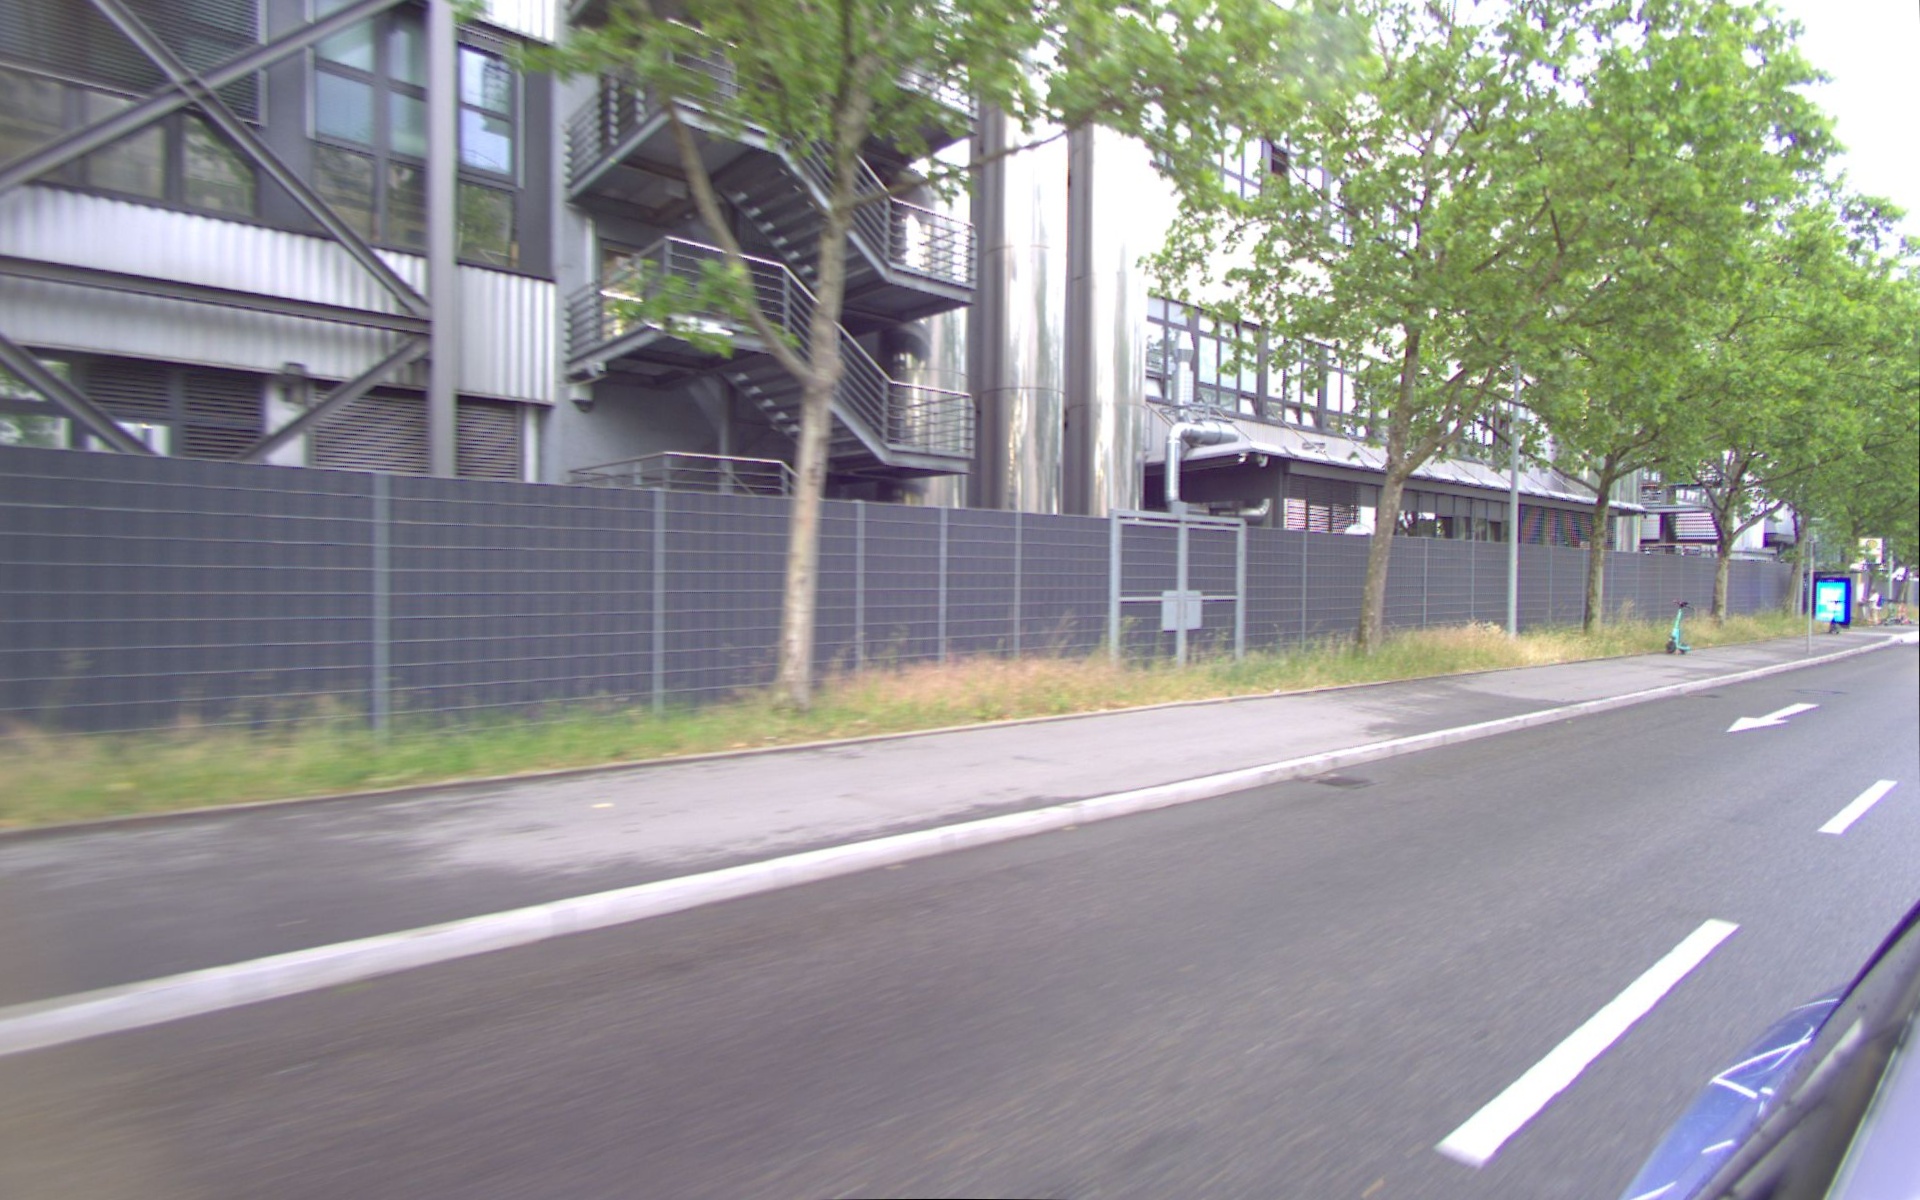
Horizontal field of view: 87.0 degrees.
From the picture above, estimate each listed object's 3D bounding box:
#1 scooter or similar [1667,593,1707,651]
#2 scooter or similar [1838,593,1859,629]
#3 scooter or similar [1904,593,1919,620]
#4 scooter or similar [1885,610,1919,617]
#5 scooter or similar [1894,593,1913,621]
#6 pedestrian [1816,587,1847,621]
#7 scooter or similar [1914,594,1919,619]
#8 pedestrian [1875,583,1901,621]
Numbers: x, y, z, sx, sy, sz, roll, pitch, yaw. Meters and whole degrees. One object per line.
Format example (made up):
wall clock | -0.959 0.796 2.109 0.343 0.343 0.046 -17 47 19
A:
scooter or similar | 16.725 0.492 23.273 1.087 1.285 0.330 0 1 -32
scooter or similar | 33.242 0.416 37.866 1.222 1.325 0.329 0 1 -37
scooter or similar | 48.278 0.319 51.202 1.341 1.311 0.437 0 1 -34
scooter or similar | 51.537 0.724 55.247 1.168 0.314 1.194 1 2 21
scooter or similar | 45.260 0.338 48.541 1.277 1.311 0.437 0 1 -38
pedestrian | 38.378 0.157 44.548 0.686 1.433 0.932 0 1 -41
scooter or similar | 51.274 0.355 53.861 1.275 1.301 0.437 0 1 -34
pedestrian | 42.453 0.091 46.294 0.717 1.731 0.777 0 1 -41
